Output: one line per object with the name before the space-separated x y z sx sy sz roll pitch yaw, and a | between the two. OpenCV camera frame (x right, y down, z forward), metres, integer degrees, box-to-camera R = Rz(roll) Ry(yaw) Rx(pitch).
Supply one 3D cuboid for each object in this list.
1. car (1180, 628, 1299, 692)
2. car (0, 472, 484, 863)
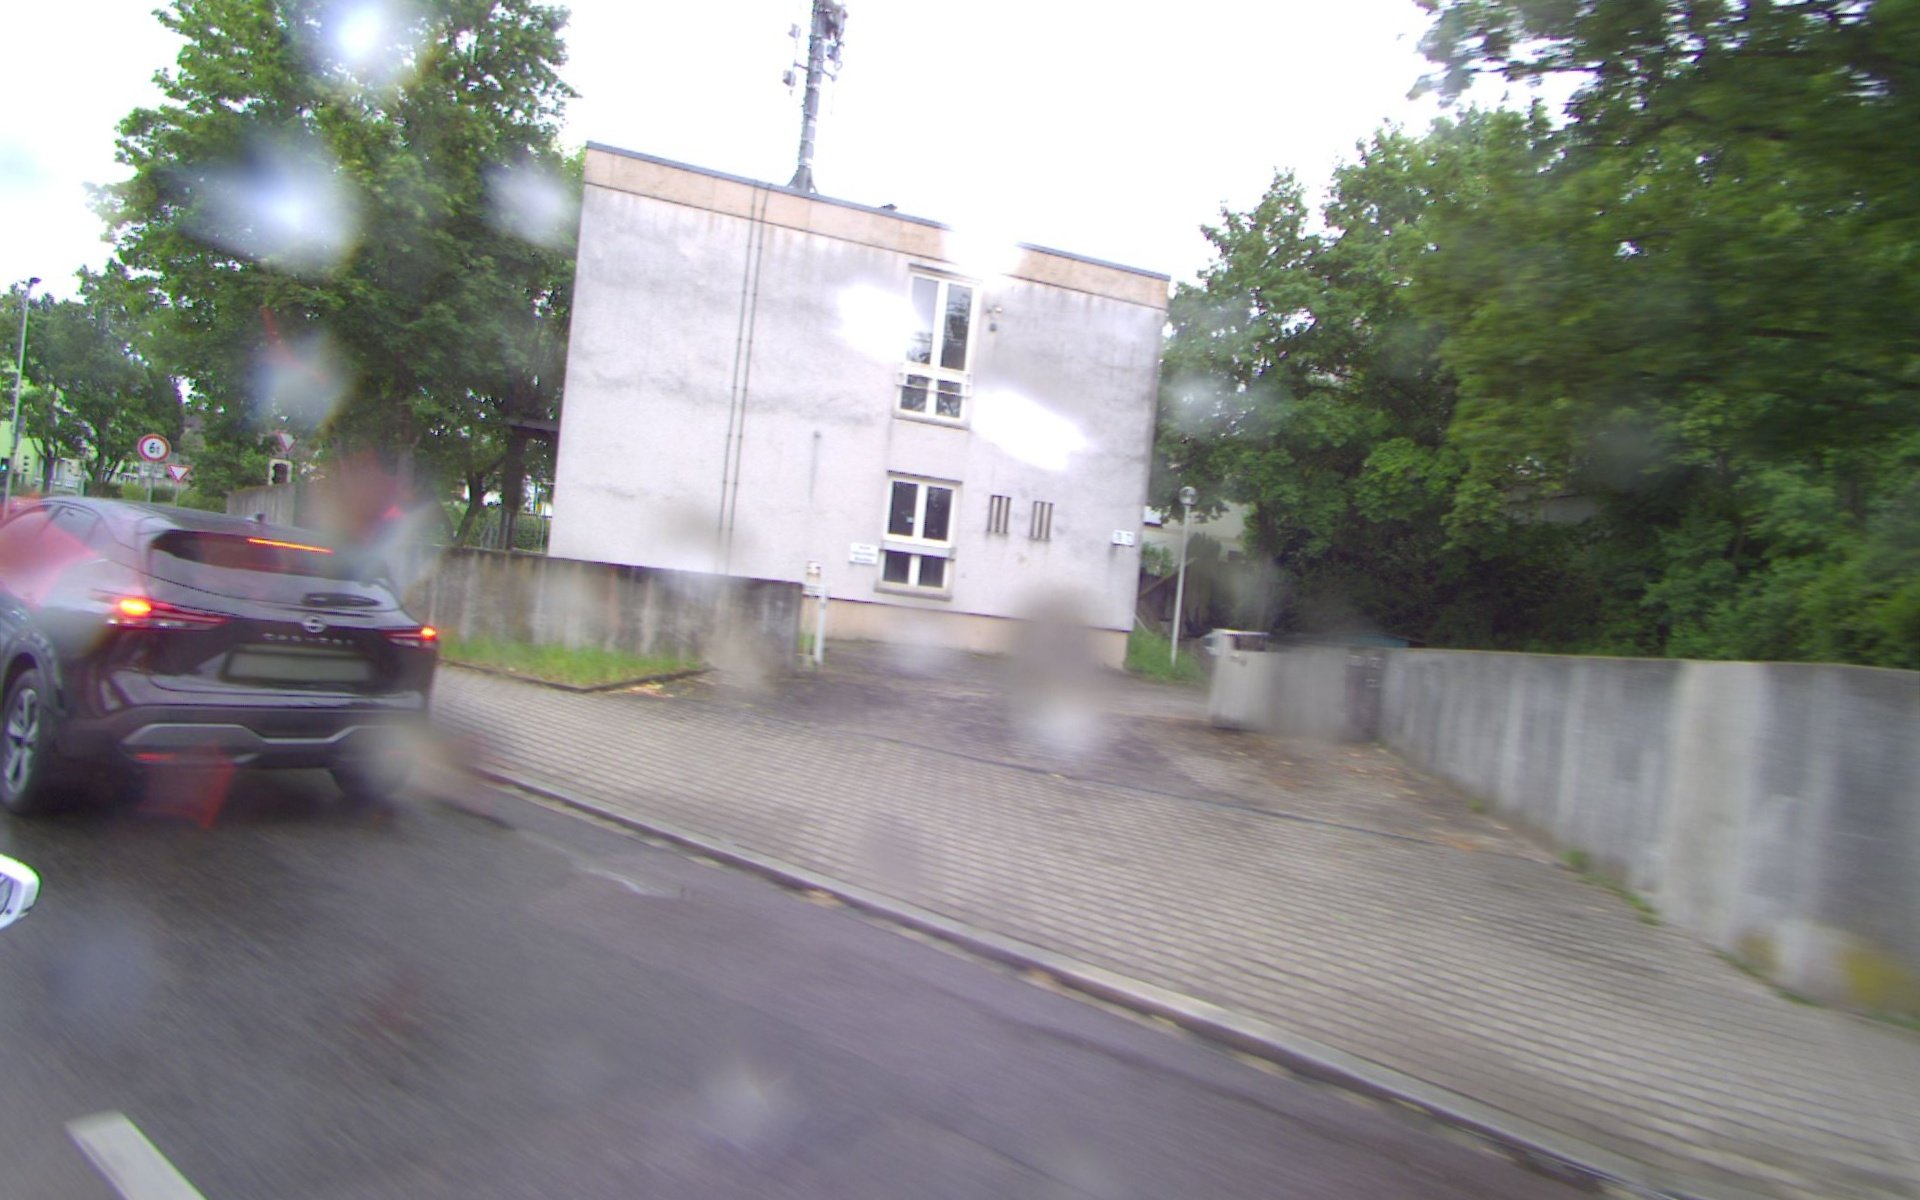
car | 7.741 1.641 28.173 1.459 1.393 3.430 6 0 -18
car | -5.104 0.174 6.309 4.184 1.623 1.792 9 0 34
